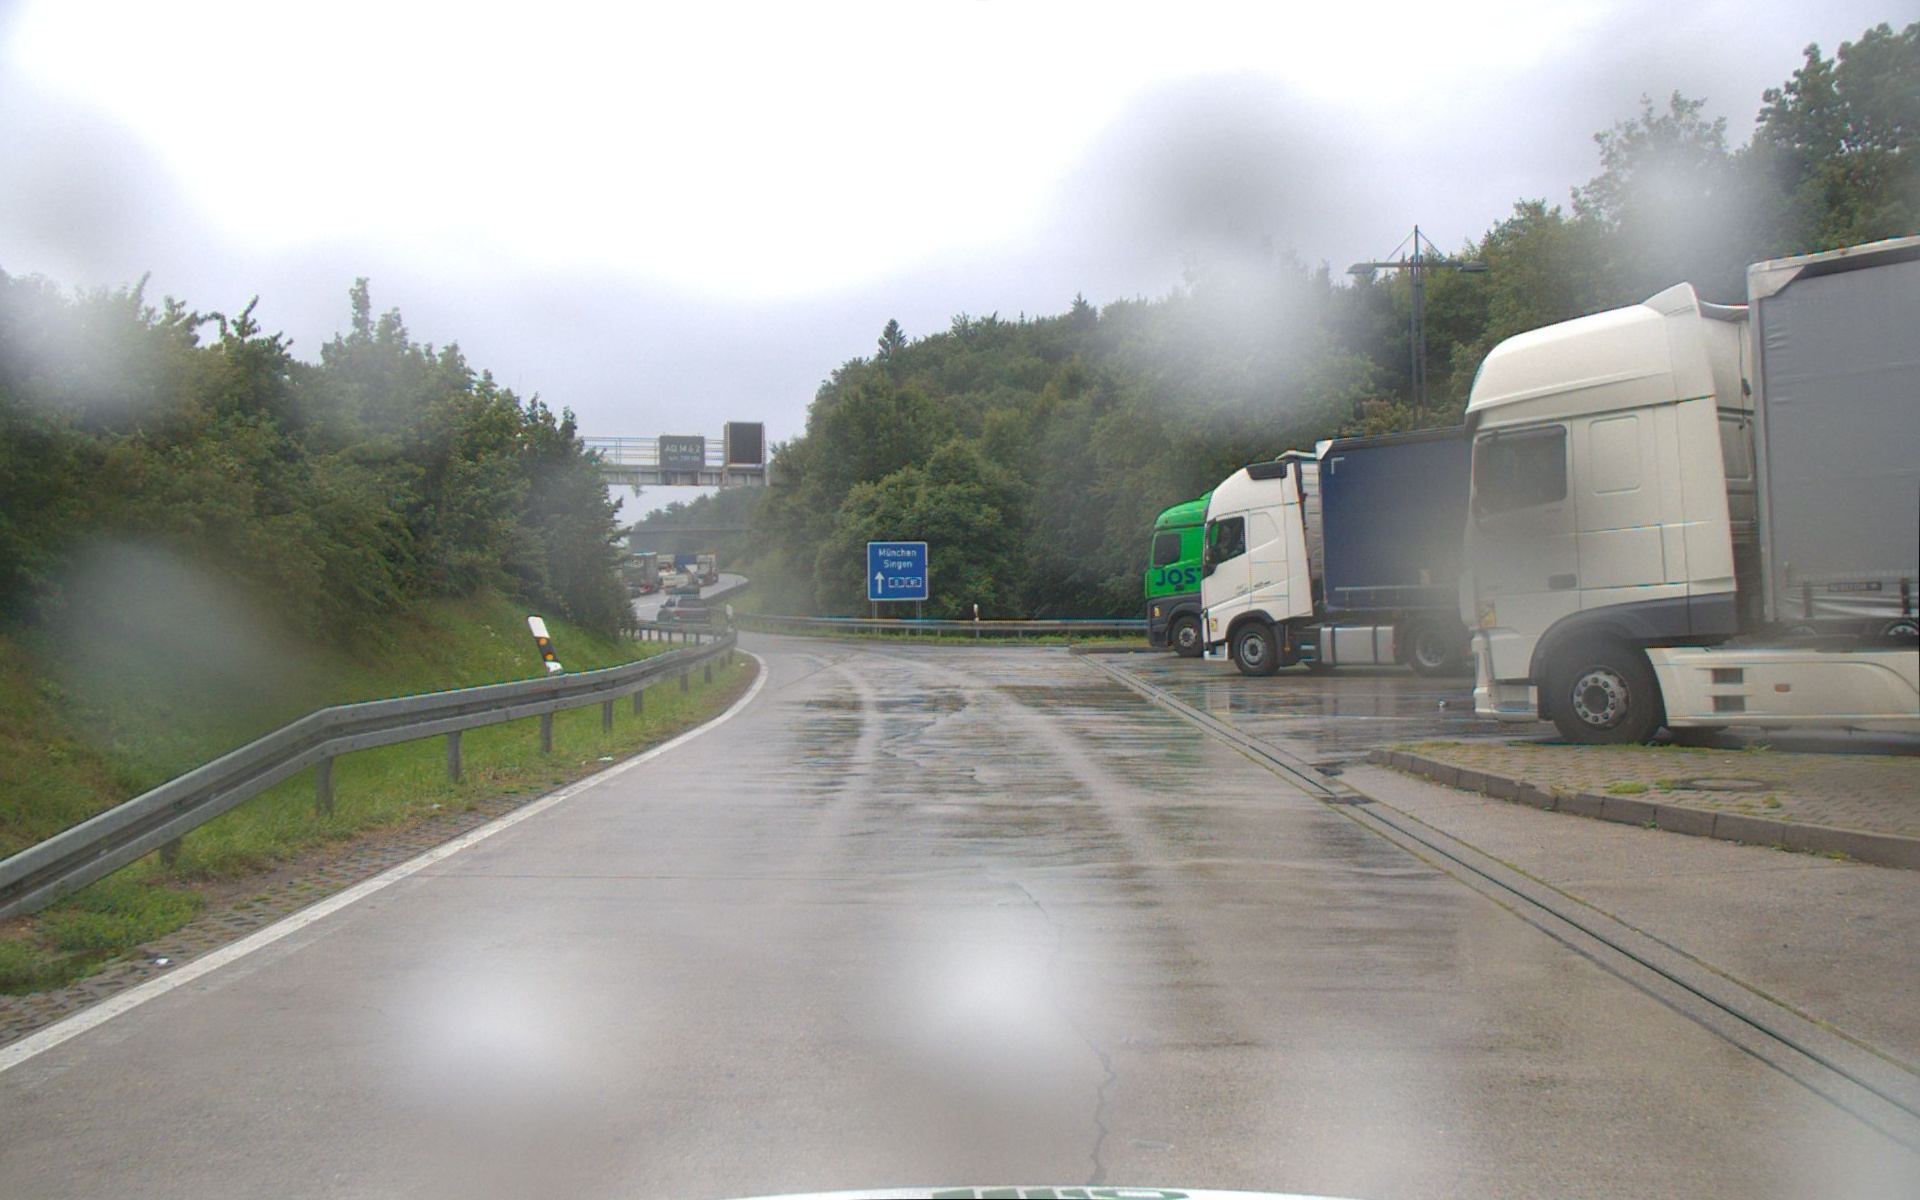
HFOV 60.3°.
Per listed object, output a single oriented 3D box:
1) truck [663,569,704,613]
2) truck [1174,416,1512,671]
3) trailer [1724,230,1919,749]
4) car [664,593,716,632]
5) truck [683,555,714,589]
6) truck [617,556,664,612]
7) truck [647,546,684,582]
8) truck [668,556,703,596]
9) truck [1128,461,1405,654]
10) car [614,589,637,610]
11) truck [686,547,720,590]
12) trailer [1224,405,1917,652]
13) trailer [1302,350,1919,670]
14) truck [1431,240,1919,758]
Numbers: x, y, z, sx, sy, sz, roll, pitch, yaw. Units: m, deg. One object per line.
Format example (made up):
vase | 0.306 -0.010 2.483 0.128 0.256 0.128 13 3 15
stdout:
truck | -28.731 -0.996 172.320 3.532 4.176 11.543 -3 2 -7
truck | 6.901 -0.901 30.220 2.806 4.218 5.216 -2 0 -44
trailer | 12.200 -1.061 9.821 2.824 3.987 13.724 -3 0 -44
car | -12.281 0.558 75.088 1.960 1.665 3.984 1 0 -15
truck | -33.702 -3.571 213.438 3.684 4.040 11.040 1 0 -8
truck | -33.152 -1.566 172.263 3.681 5.595 10.161 1 0 -5
truck | -36.975 -4.458 207.746 3.507 4.166 10.867 -2 0 -5
truck | -31.200 -2.681 188.363 3.441 4.342 10.586 1 0 -7
truck | 7.293 -0.925 39.822 5.896 4.222 2.808 -3 0 44
car | -31.297 -0.080 154.788 1.763 1.937 3.994 1 0 -6
truck | -36.019 -4.355 232.050 4.254 5.864 9.714 1 0 -7
trailer | 12.122 -1.155 35.008 13.730 4.222 2.808 -3 0 44
trailer | 11.847 -1.155 25.076 2.806 4.244 13.766 -2 0 -44
truck | 7.372 -0.783 14.759 5.320 3.981 2.811 -2 0 45
